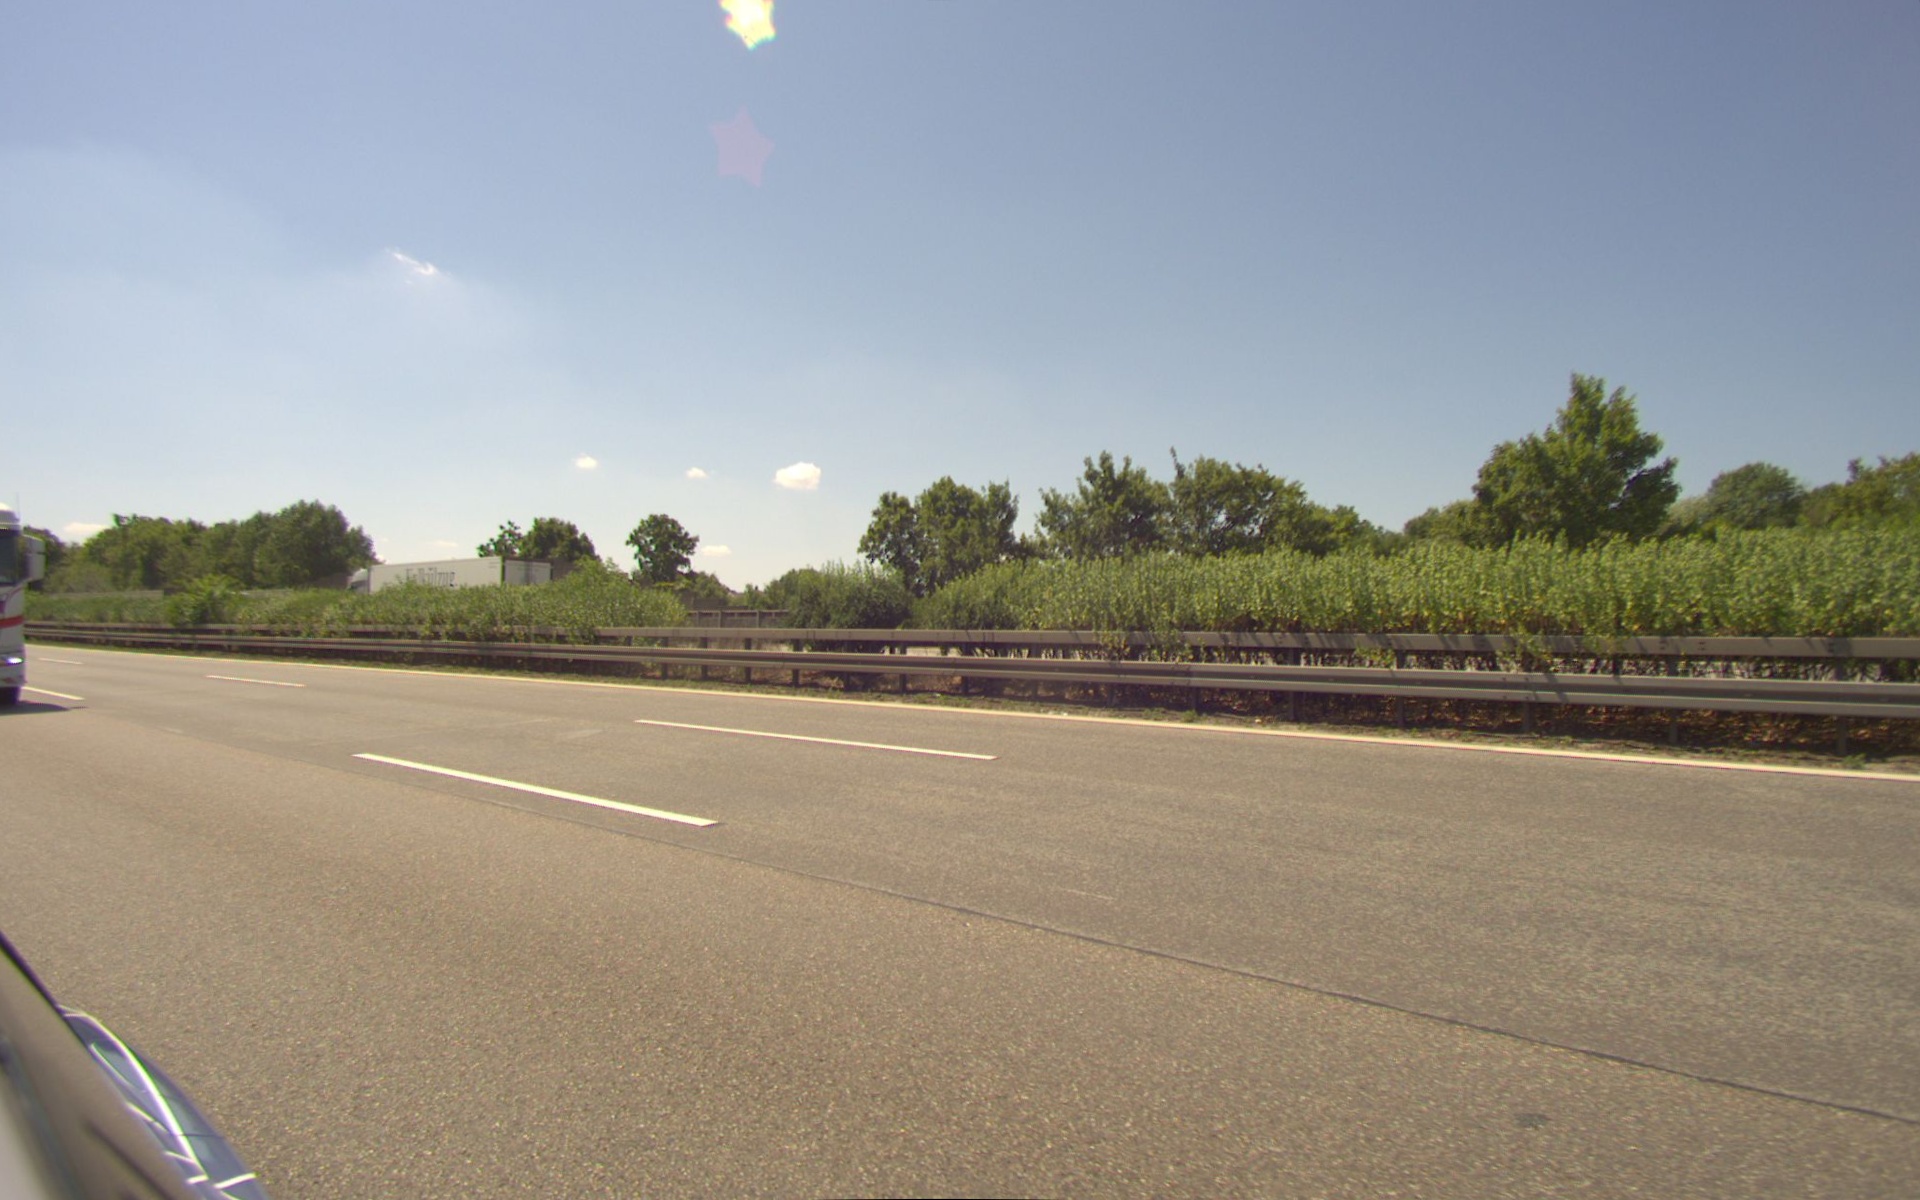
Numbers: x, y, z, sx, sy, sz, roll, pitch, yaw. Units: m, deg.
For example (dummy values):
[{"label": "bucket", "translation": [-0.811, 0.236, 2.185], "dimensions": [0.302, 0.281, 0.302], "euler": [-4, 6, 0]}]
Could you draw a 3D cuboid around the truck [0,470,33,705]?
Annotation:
[{"label": "truck", "translation": [-20.314, -0.123, 19.118], "dimensions": [10.661, 3.831, 2.687], "euler": [-1, -1, 40]}]

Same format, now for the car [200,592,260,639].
[{"label": "car", "translation": [-44.756, 0.955, 62.022], "dimensions": [3.994, 2.786, 1.975], "euler": [-1, -1, 38]}]

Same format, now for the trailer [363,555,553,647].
[{"label": "trailer", "translation": [-25.904, 0.156, 51.571], "dimensions": [14.203, 4.165, 2.581], "euler": [-1, -1, 37]}]

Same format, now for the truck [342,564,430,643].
[{"label": "truck", "translation": [-31.796, 0.221, 56.005], "dimensions": [4.740, 4.187, 2.581], "euler": [-1, -1, 37]}]
